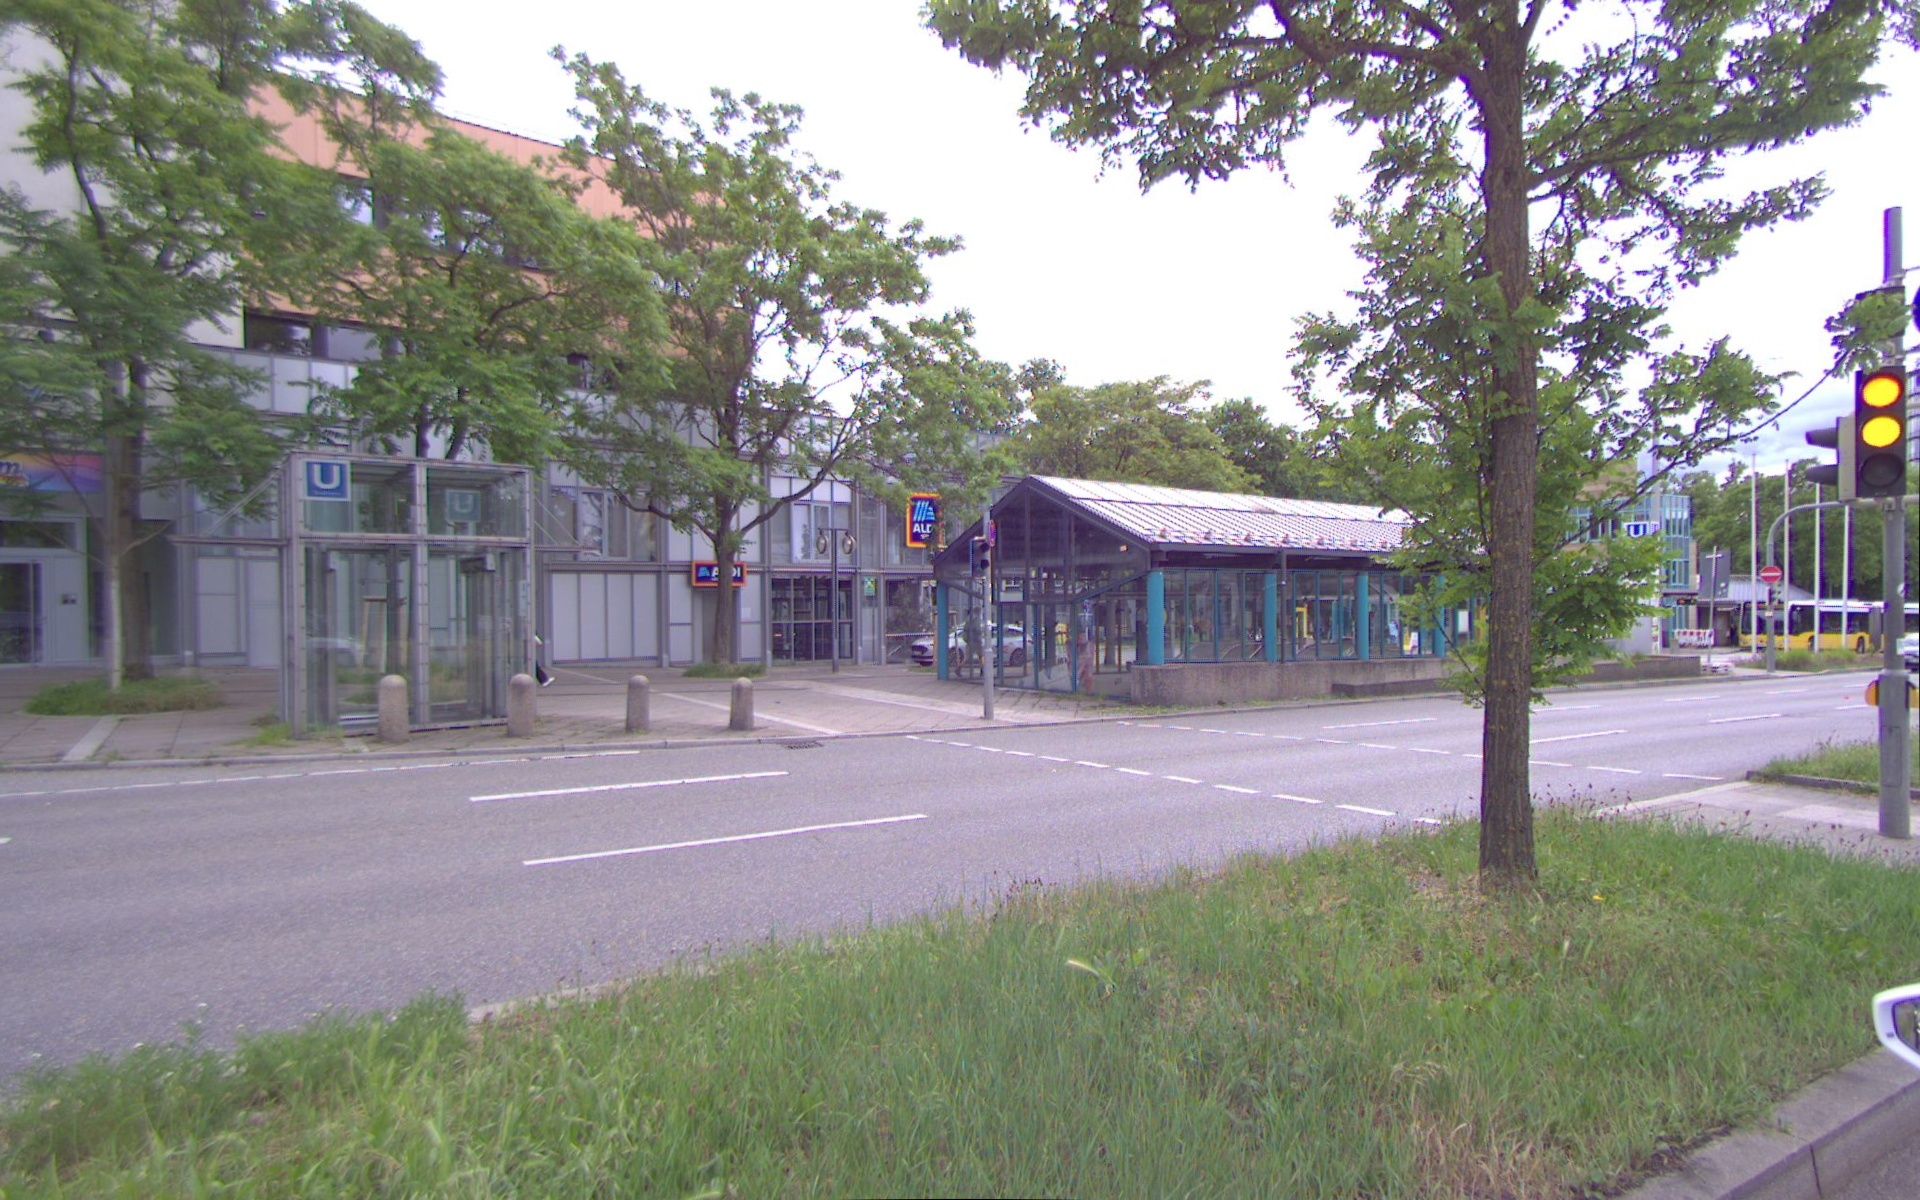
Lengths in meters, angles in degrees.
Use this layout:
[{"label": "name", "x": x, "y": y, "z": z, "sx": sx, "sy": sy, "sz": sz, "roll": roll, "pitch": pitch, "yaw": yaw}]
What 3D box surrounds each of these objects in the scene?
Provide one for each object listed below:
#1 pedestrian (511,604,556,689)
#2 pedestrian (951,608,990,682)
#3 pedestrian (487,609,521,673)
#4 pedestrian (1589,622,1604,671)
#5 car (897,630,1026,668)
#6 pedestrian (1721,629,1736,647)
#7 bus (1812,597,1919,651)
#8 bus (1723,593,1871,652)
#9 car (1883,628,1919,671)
[{"label": "pedestrian", "x": -8.622, "y": 0.920, "z": 20.297, "sx": 0.714, "sy": 1.672, "sz": 0.672, "roll": 1, "pitch": 0, "yaw": -34}, {"label": "pedestrian", "x": 0.272, "y": 1.153, "z": 25.888, "sx": 0.530, "sy": 1.857, "sz": 0.916, "roll": 0, "pitch": -1, "yaw": 44}, {"label": "pedestrian", "x": -11.047, "y": 0.979, "z": 24.327, "sx": 0.617, "sy": 1.523, "sz": 0.562, "roll": 1, "pitch": -1, "yaw": -40}, {"label": "pedestrian", "x": 21.003, "y": 1.530, "z": 33.156, "sx": 0.412, "sy": 1.612, "sz": 0.356, "roll": 0, "pitch": -1, "yaw": 31}, {"label": "car", "x": 0.078, "y": 1.601, "z": 33.326, "sx": 3.959, "sy": 1.184, "sz": 1.812, "roll": 2, "pitch": -2, "yaw": -34}, {"label": "pedestrian", "x": 47.280, "y": 2.330, "z": 61.794, "sx": 0.581, "sy": 1.071, "sz": 0.520, "roll": 2, "pitch": 0, "yaw": -30}, {"label": "bus", "x": 57.920, "y": 1.553, "z": 63.770, "sx": 7.771, "sy": 3.313, "sz": 2.980, "roll": 1, "pitch": -1, "yaw": -26}, {"label": "bus", "x": 49.924, "y": 1.391, "z": 59.829, "sx": 10.036, "sy": 3.293, "sz": 2.980, "roll": 1, "pitch": -1, "yaw": -26}, {"label": "car", "x": 37.552, "y": 1.921, "z": 39.166, "sx": 3.316, "sy": 1.599, "sz": 1.673, "roll": 1, "pitch": -1, "yaw": -36}]
